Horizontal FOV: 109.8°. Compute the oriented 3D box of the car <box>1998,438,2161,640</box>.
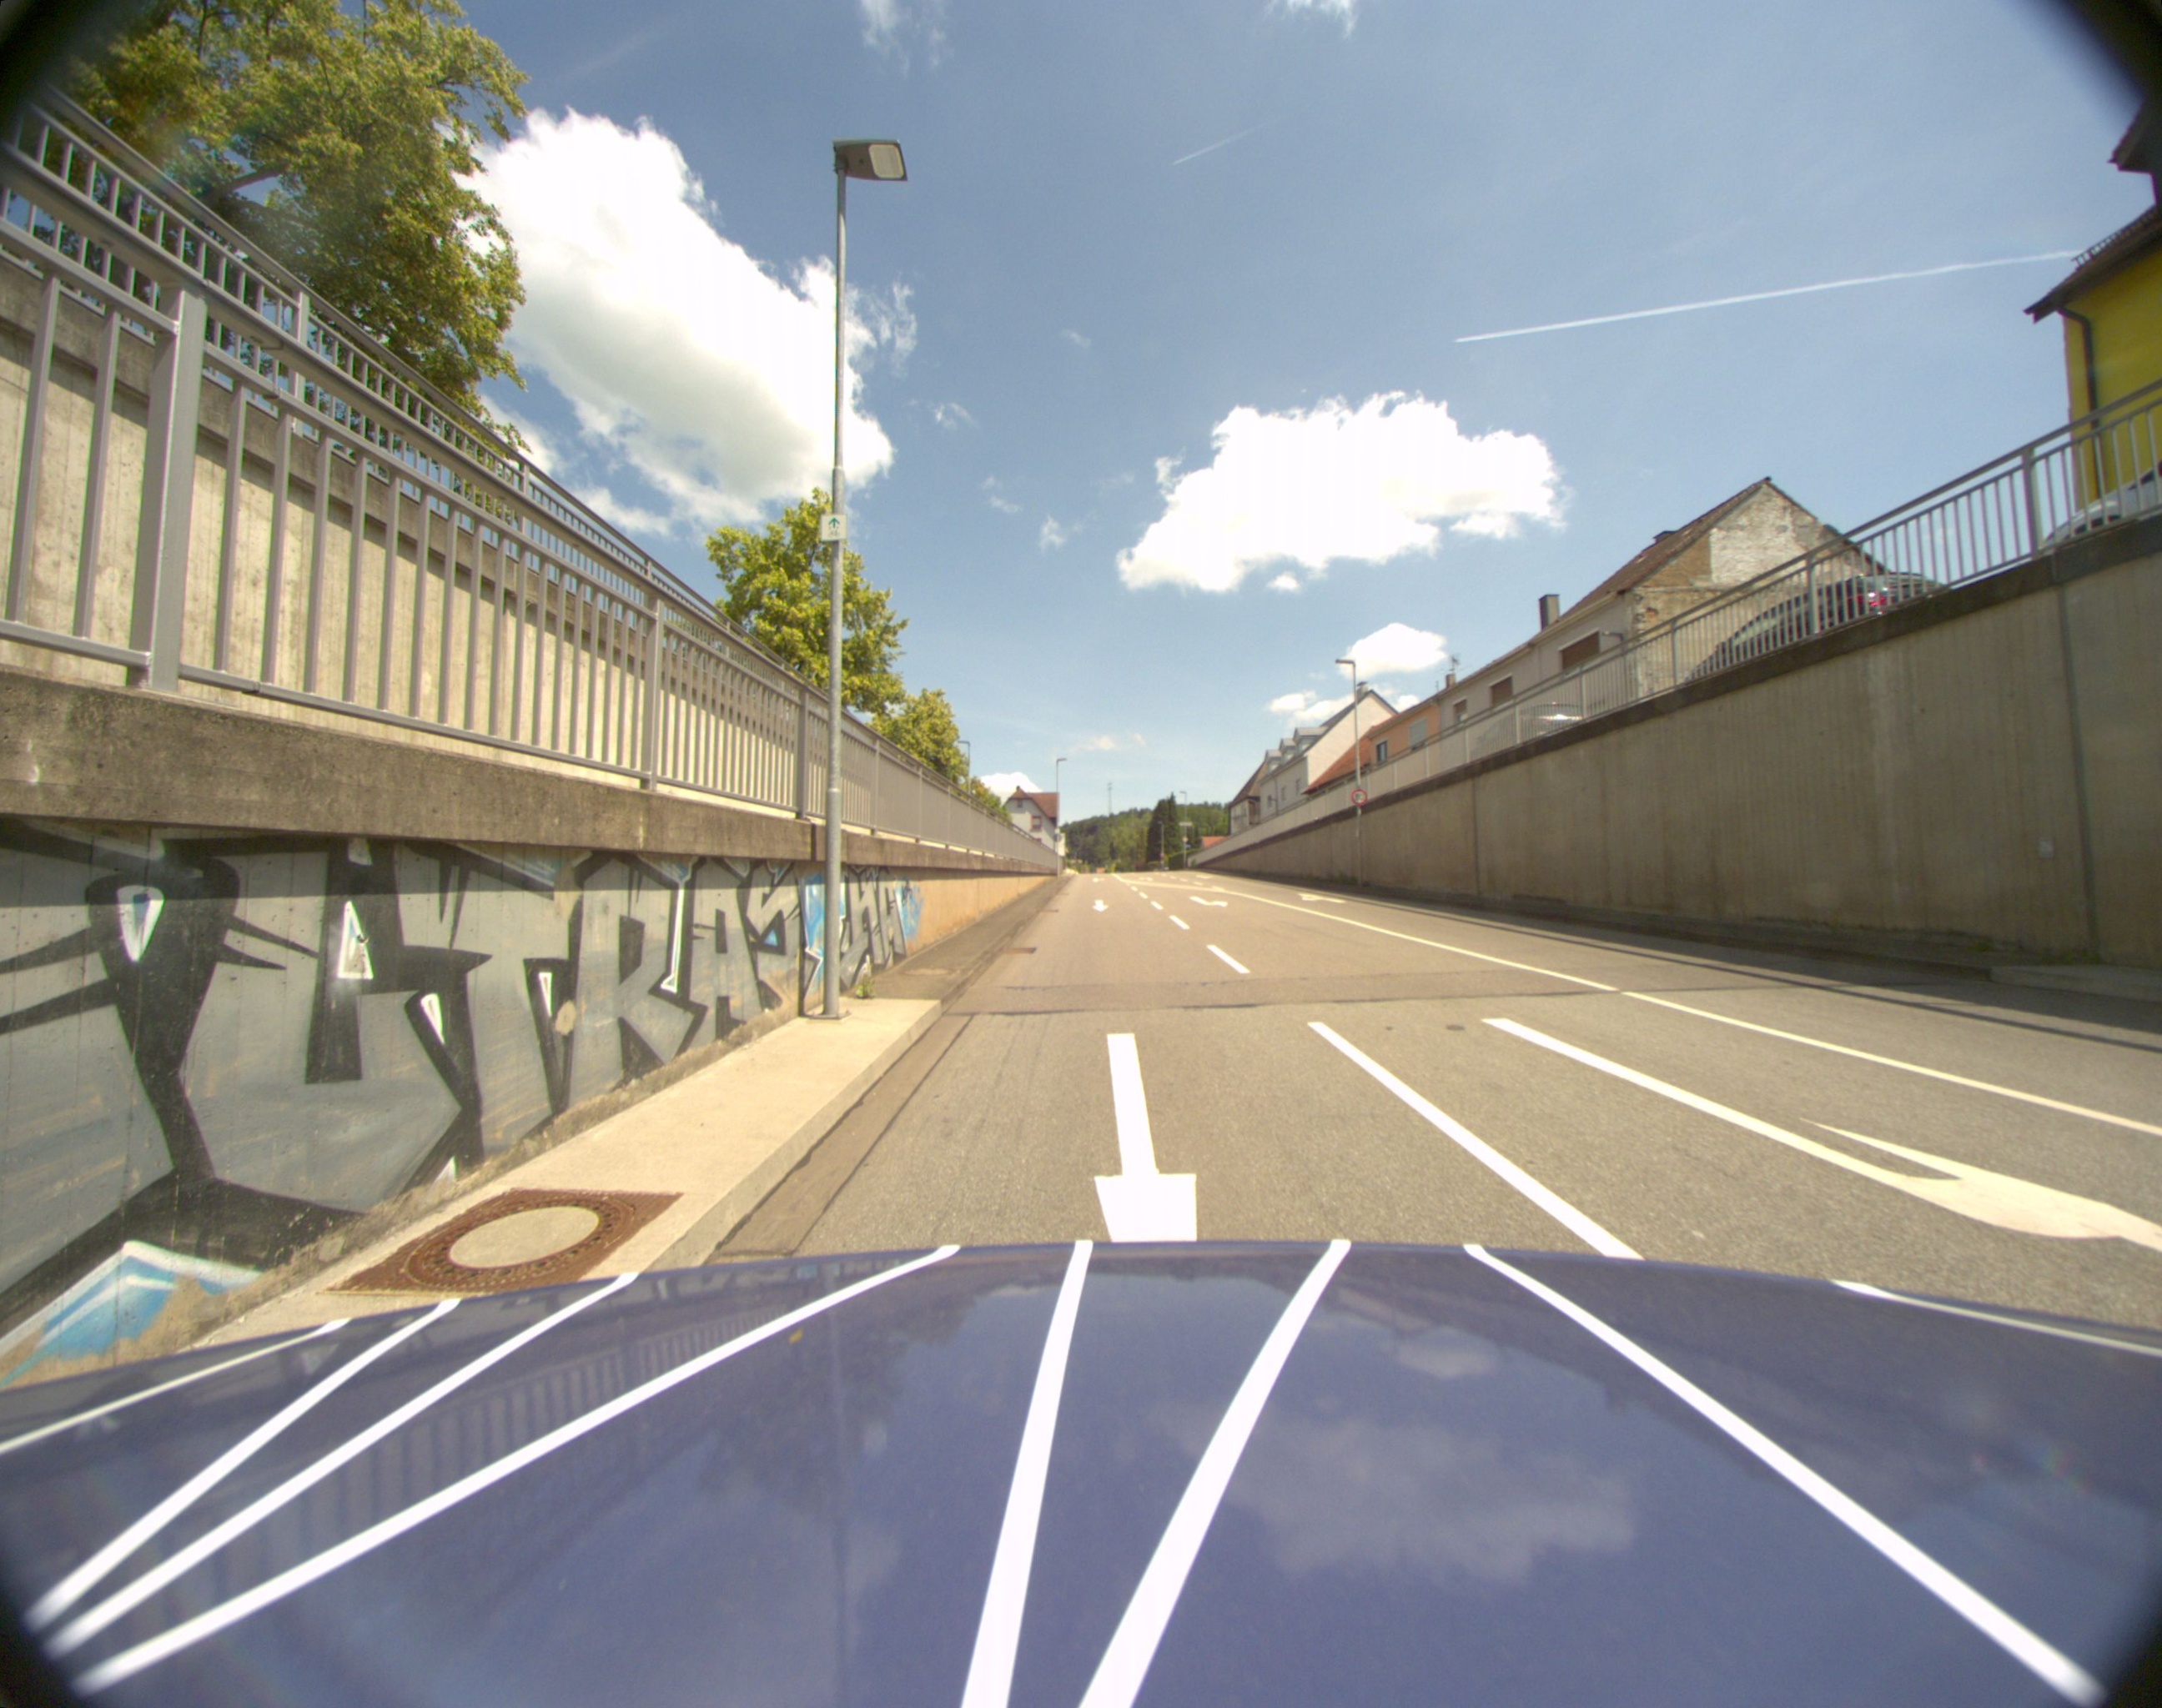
[{"bbox_3d":[12.088,-3.498,7.181,1.907,1.657,4.001,-1,-2,-1],"label":"car"}]

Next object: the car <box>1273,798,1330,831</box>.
[{"bbox_3d":[12.285,-2.177,42.584,1.790,1.396,4.394,-1,-2,-1],"label":"car"}]

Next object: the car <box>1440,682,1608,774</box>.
[{"bbox_3d":[11.522,-3.214,20.168,1.803,1.515,4.394,-1,-2,-1],"label":"car"}]

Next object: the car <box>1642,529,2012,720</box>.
[{"bbox_3d":[11.781,-3.521,12.522,1.827,1.695,4.223,-1,-2,-1],"label":"car"}]
